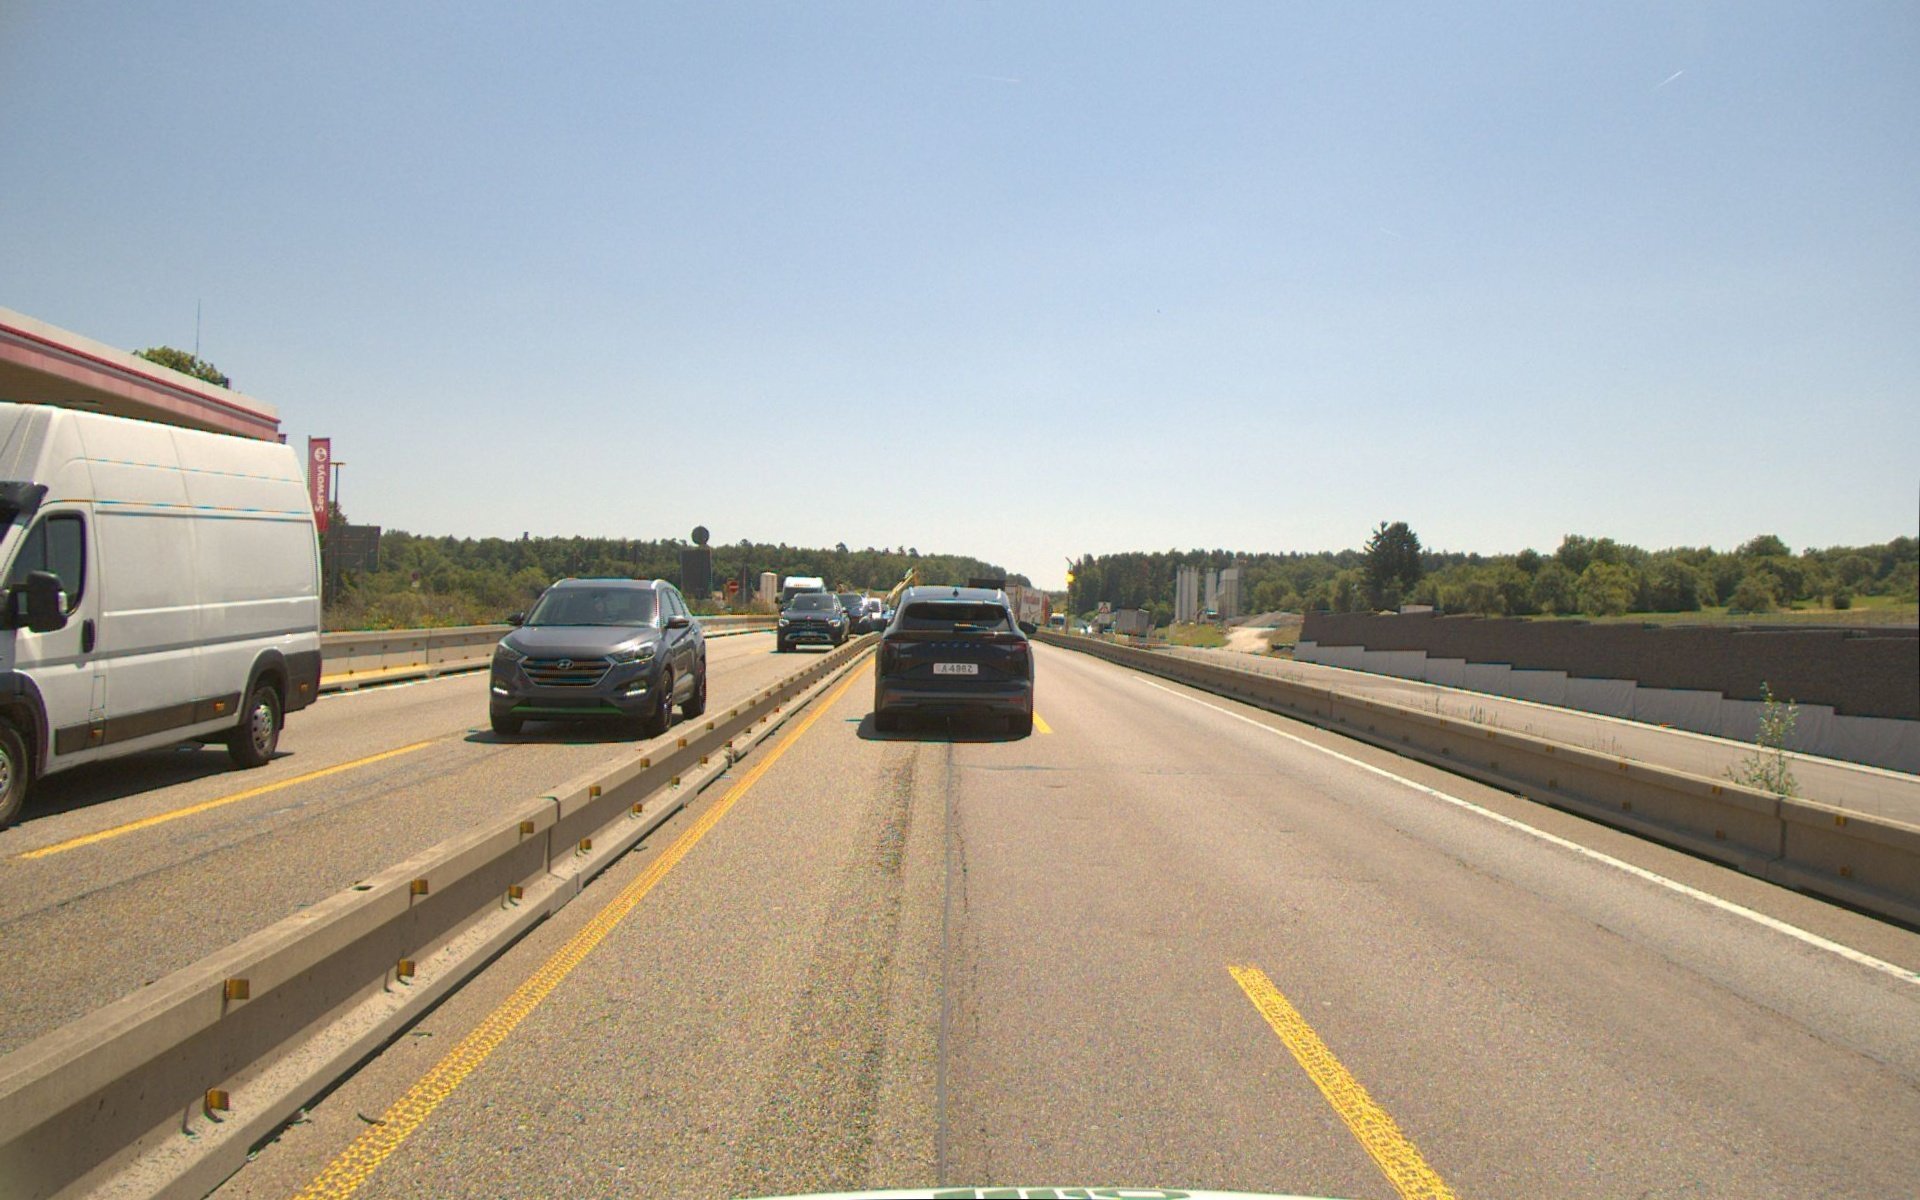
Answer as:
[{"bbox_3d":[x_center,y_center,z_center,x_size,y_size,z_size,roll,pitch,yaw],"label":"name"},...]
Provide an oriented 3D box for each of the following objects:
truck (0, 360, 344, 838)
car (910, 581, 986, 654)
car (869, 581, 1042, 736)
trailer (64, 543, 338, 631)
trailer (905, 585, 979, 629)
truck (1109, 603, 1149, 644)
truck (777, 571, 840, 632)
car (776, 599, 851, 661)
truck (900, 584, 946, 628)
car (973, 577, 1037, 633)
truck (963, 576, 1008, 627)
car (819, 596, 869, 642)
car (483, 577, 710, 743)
[{"bbox_3d":[-6.837,-0.038,12.244,2.194,2.835,6.491,1,0,-1],"label":"truck"},{"bbox_3d":[-0.385,0.494,47.126,1.953,1.876,3.998,3,-1,-2],"label":"car"},{"bbox_3d":[-0.048,0.615,19.600,1.805,1.609,4.000,1,0,0],"label":"car"},{"bbox_3d":[-38.864,-0.538,85.752,3.088,4.183,14.150,0,-1,26],"label":"trailer"},{"bbox_3d":[-1.720,0.790,170.621,2.854,4.201,13.918,2,-1,20],"label":"trailer"},{"bbox_3d":[20.159,2.849,196.529,3.404,4.292,10.384,7,0,11],"label":"truck"},{"bbox_3d":[-7.537,0.119,82.920,2.429,2.874,8.127,1,-1,-1],"label":"truck"},{"bbox_3d":[-4.190,0.815,47.791,1.818,1.631,4.734,1,0,-1],"label":"car"},{"bbox_3d":[-3.688,0.669,164.923,2.852,4.201,6.142,2,-1,15],"label":"truck"},{"bbox_3d":[3.955,0.493,142.474,3.365,4.171,9.203,6,-1,14],"label":"car"},{"bbox_3d":[1.532,0.060,102.273,2.618,2.997,5.620,1,0,0],"label":"truck"},{"bbox_3d":[-4.942,0.790,71.054,1.868,1.836,5.080,1,0,-1],"label":"car"},{"bbox_3d":[-3.979,0.597,18.757,1.900,1.639,3.997,1,0,-4],"label":"car"}]
